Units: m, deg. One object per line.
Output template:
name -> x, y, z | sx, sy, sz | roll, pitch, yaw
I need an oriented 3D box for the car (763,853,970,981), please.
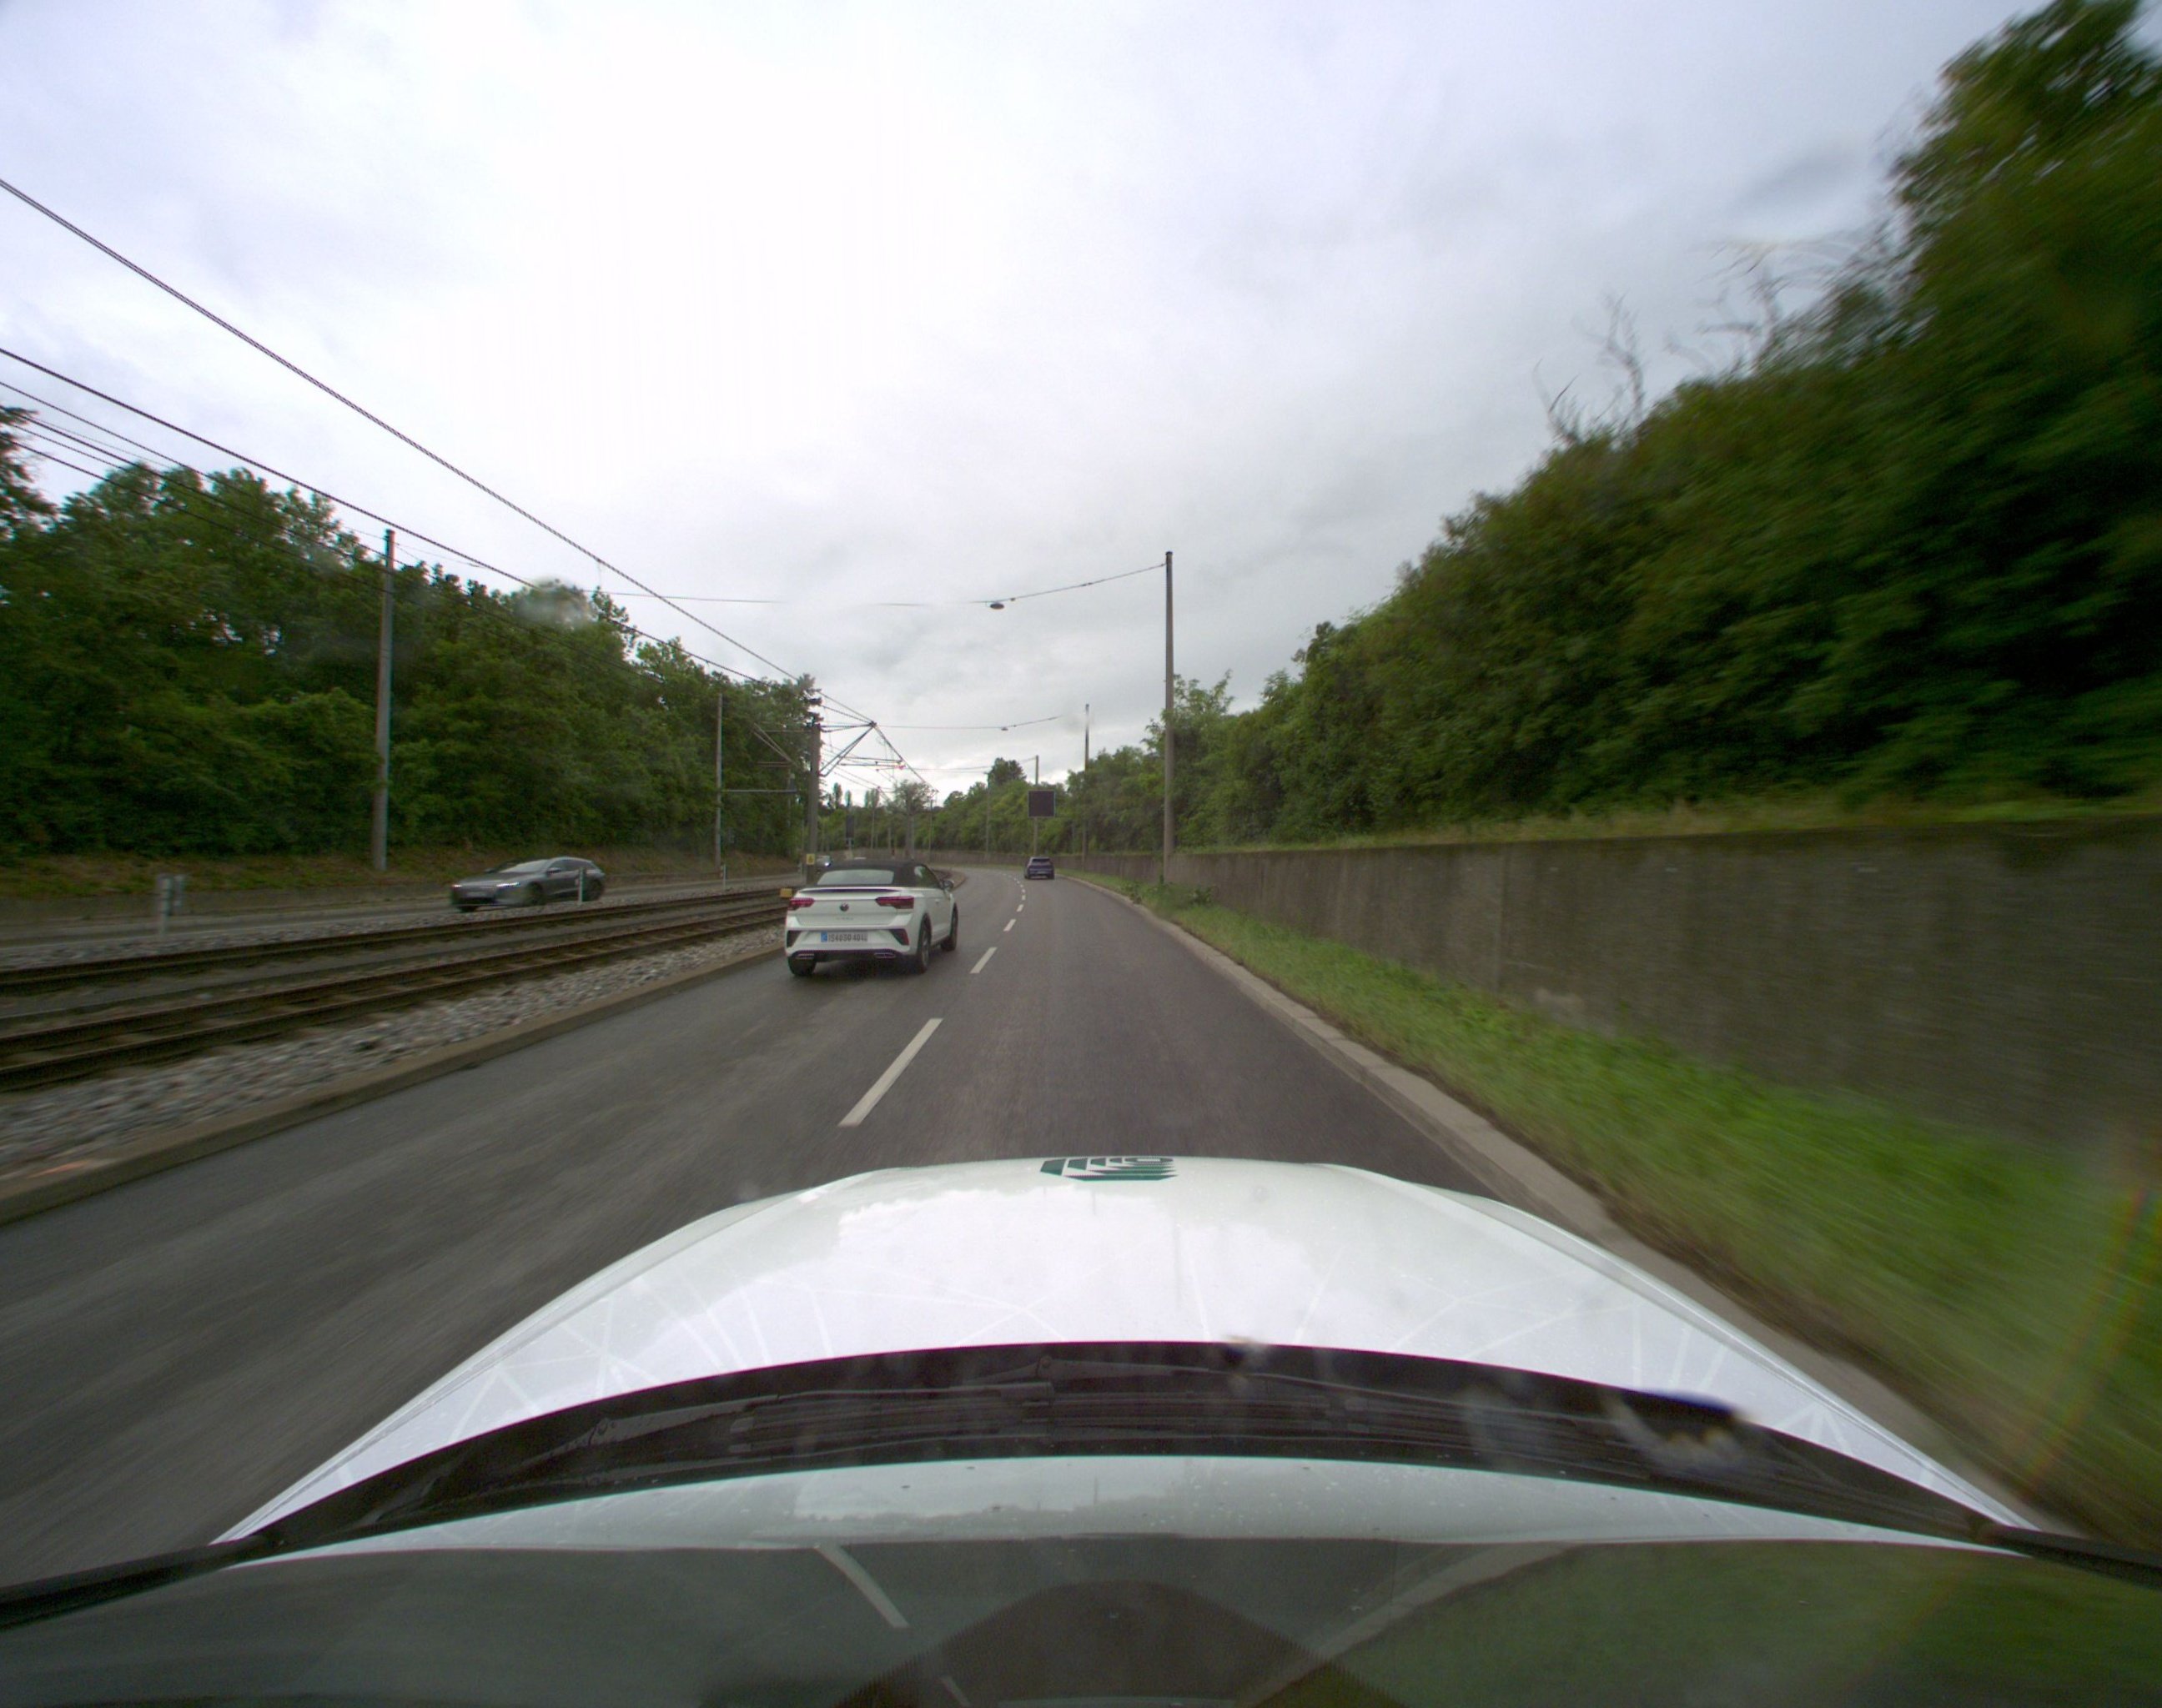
car -> -2.938, 0.774, 12.253 | 1.865, 1.524, 4.540 | -1, 0, 0

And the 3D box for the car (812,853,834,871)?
car -> -24.154, 0.720, 76.045 | 1.790, 1.669, 4.708 | 0, 0, -20

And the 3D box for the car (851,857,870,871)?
car -> -21.910, 0.979, 80.947 | 1.708, 1.415, 4.013 | 0, -1, -13

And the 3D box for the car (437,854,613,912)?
car -> -15.965, 0.767, 23.782 | 1.856, 1.438, 4.852 | -2, 0, -2

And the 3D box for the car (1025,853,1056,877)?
car -> -2.701, 0.673, 53.756 | 1.762, 1.501, 3.990 | 1, 0, -8
